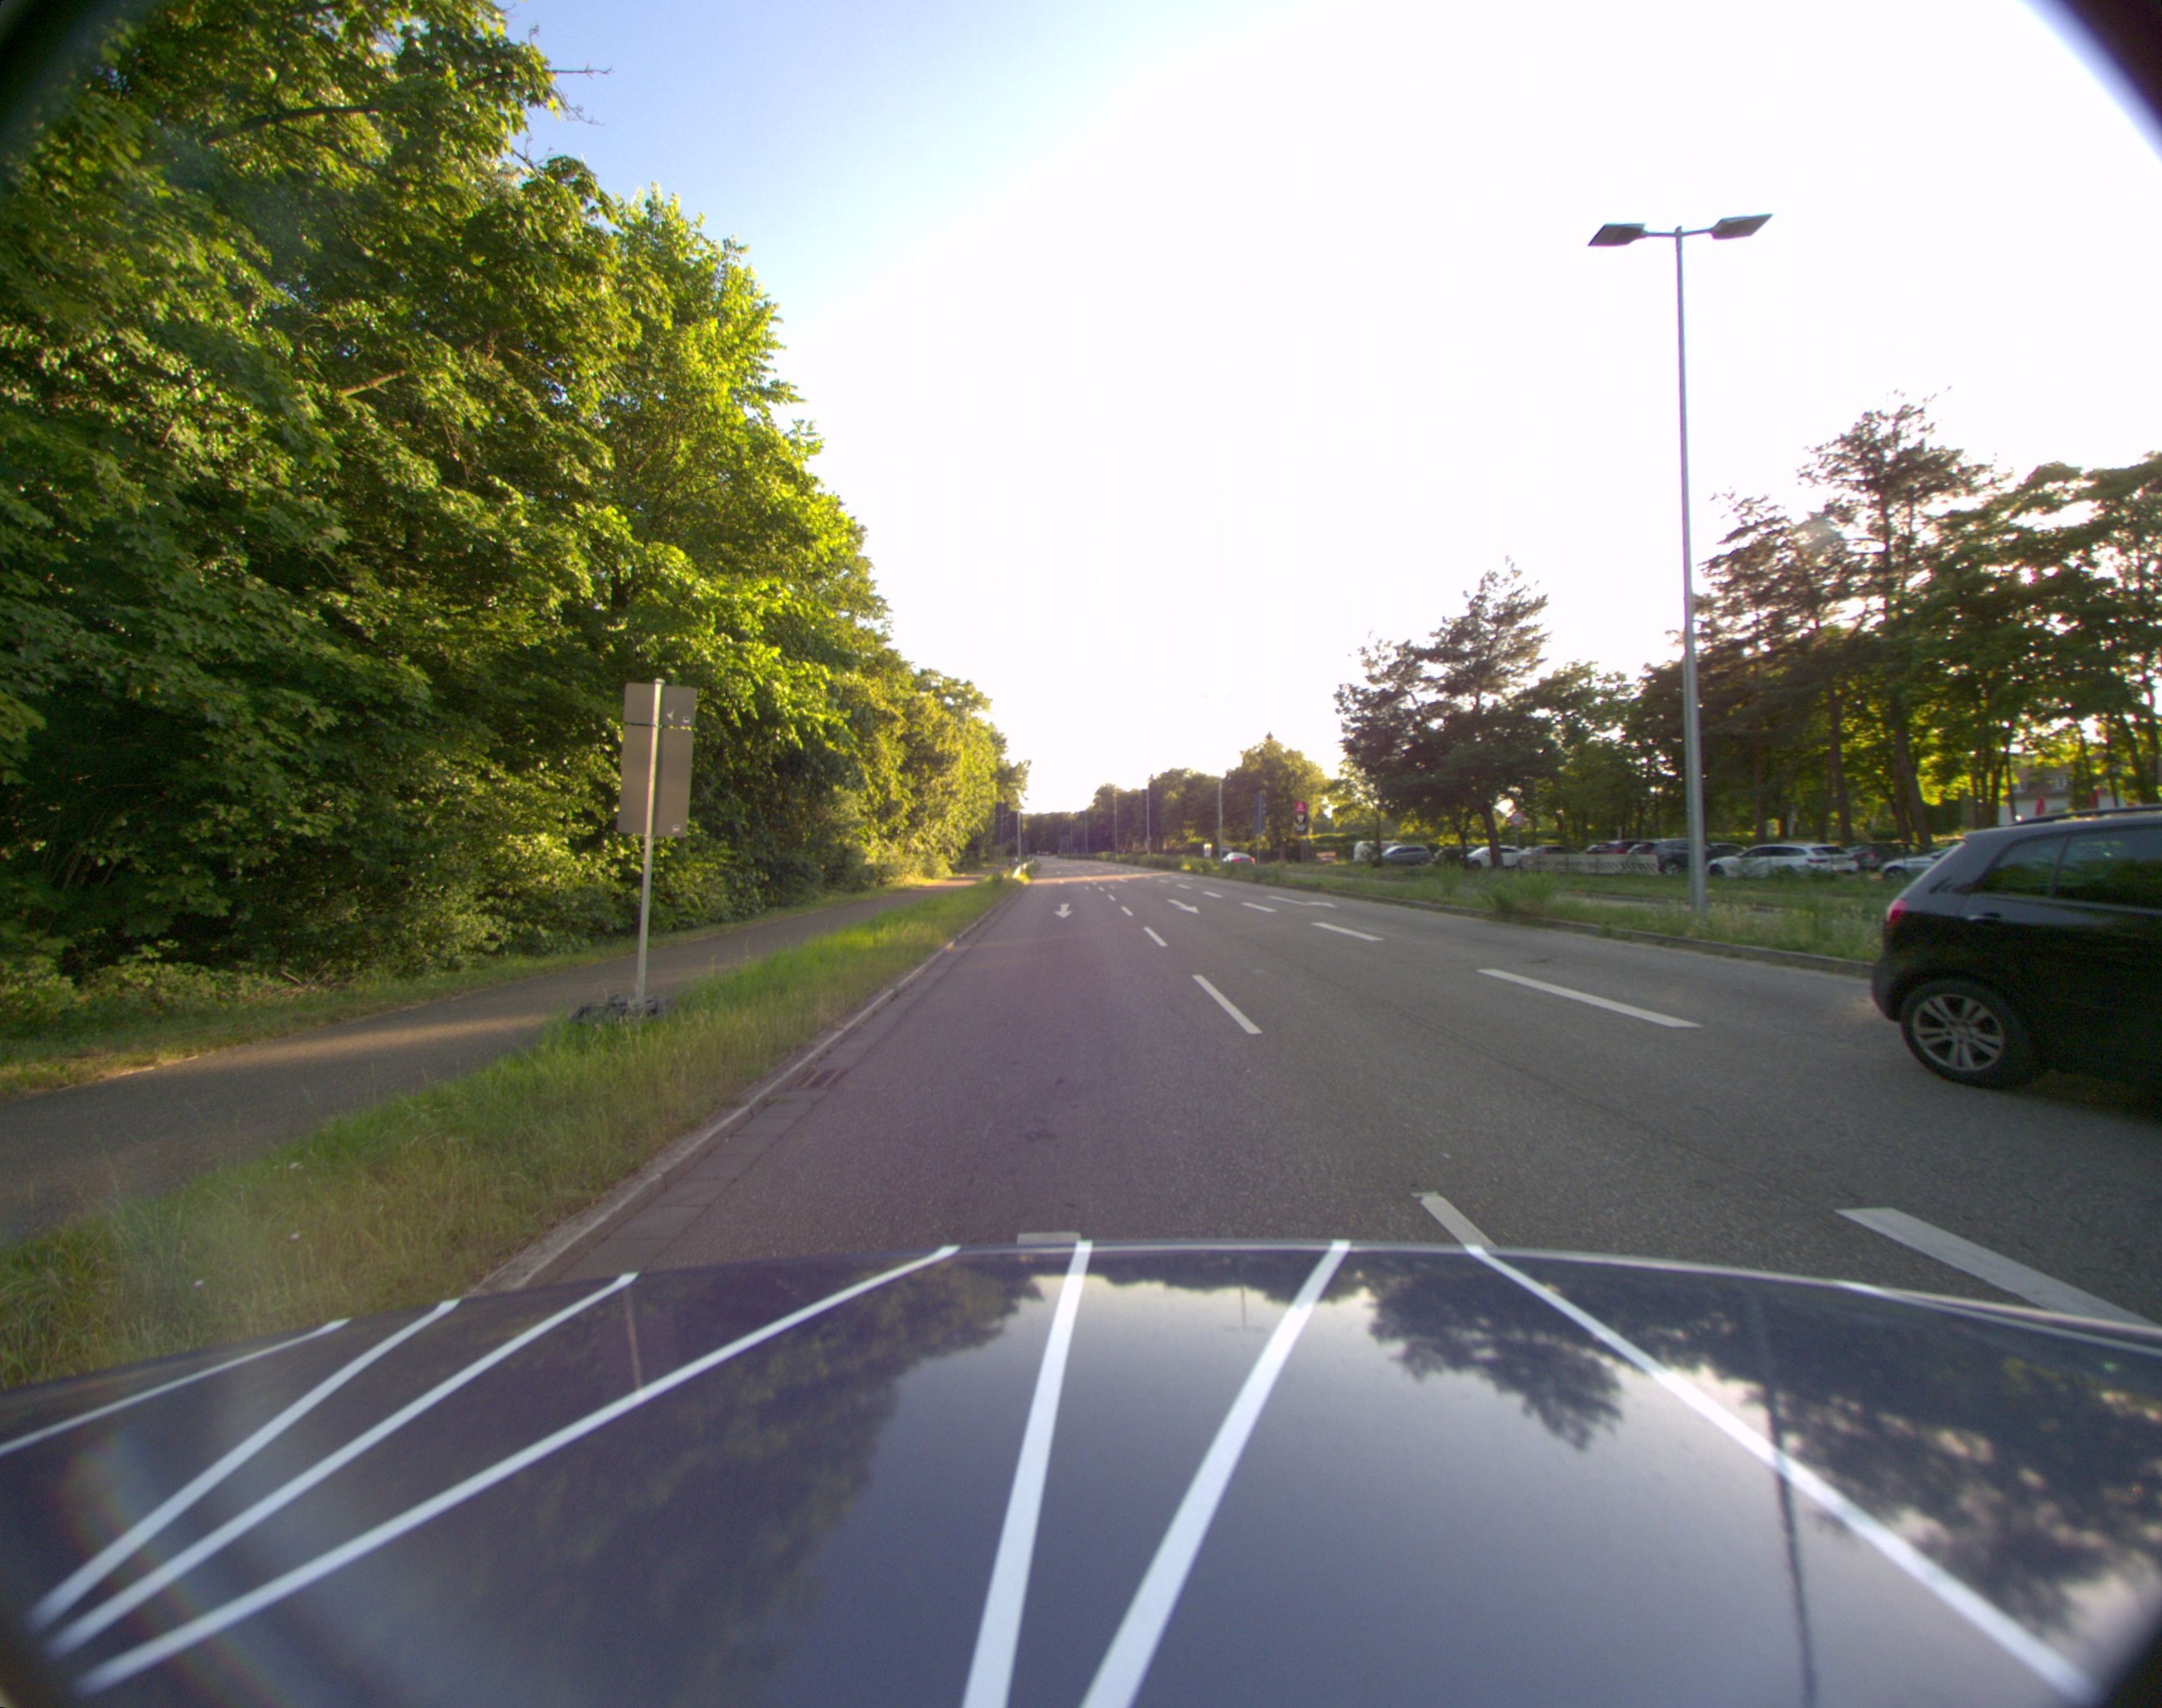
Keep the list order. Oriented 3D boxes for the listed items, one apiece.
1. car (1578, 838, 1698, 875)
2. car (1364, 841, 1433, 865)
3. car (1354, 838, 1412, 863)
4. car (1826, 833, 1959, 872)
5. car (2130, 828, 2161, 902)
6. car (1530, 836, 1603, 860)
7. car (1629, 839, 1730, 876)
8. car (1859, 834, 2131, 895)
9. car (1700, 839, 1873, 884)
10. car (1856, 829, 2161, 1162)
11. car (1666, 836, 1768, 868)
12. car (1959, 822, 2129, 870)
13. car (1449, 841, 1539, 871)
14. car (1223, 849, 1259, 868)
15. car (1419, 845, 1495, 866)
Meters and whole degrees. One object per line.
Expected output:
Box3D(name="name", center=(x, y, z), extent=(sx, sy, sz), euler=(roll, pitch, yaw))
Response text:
Box3D(name="car", center=(26.306, 0.113, 35.968), extent=(4.525, 1.608, 1.771), euler=(-1, 1, -3))
Box3D(name="car", center=(24.210, -0.098, 58.020), extent=(4.498, 1.787, 1.909), euler=(-1, 1, -2))
Box3D(name="car", center=(24.230, -0.251, 61.058), extent=(3.998, 1.933, 1.766), euler=(-1, 1, -2))
Box3D(name="car", center=(35.422, -0.071, 33.235), extent=(3.997, 1.641, 1.766), euler=(-1, 1, -1))
Box3D(name="car", center=(27.107, 0.260, 16.408), extent=(1.999, 1.776, 4.920), euler=(-1, 1, -4))
Box3D(name="car", center=(34.123, -0.400, 53.471), extent=(3.997, 1.641, 1.766), euler=(-1, 1, -1))
Box3D(name="car", center=(25.756, 0.146, 32.771), extent=(3.099, 1.518, 1.659), euler=(-1, 1, -2))
Box3D(name="car", center=(26.776, 0.248, 22.616), extent=(1.999, 1.597, 4.920), euler=(-1, 1, -4))
Box3D(name="car", center=(26.422, 0.259, 28.724), extent=(1.999, 1.539, 4.708), euler=(-1, 1, -4))
Box3D(name="car", center=(6.003, 0.645, 2.898), extent=(1.999, 1.543, 3.999), euler=(-1, 0, -1))
Box3D(name="car", center=(34.082, -0.119, 40.790), extent=(3.997, 1.641, 1.766), euler=(-1, 1, -1))
Box3D(name="car", center=(34.982, -0.284, 27.679), extent=(3.997, 1.641, 1.766), euler=(-1, 1, -1))
Box3D(name="car", center=(25.171, 0.131, 46.394), extent=(4.497, 1.743, 1.909), euler=(-1, 1, -1))
Box3D(name="car", center=(12.871, 0.339, 61.524), extent=(1.896, 1.433, 4.499), euler=(-1, 1, -1))
Box3D(name="car", center=(24.025, 0.075, 48.634), extent=(3.997, 1.304, 1.732), euler=(-1, 1, -1))
